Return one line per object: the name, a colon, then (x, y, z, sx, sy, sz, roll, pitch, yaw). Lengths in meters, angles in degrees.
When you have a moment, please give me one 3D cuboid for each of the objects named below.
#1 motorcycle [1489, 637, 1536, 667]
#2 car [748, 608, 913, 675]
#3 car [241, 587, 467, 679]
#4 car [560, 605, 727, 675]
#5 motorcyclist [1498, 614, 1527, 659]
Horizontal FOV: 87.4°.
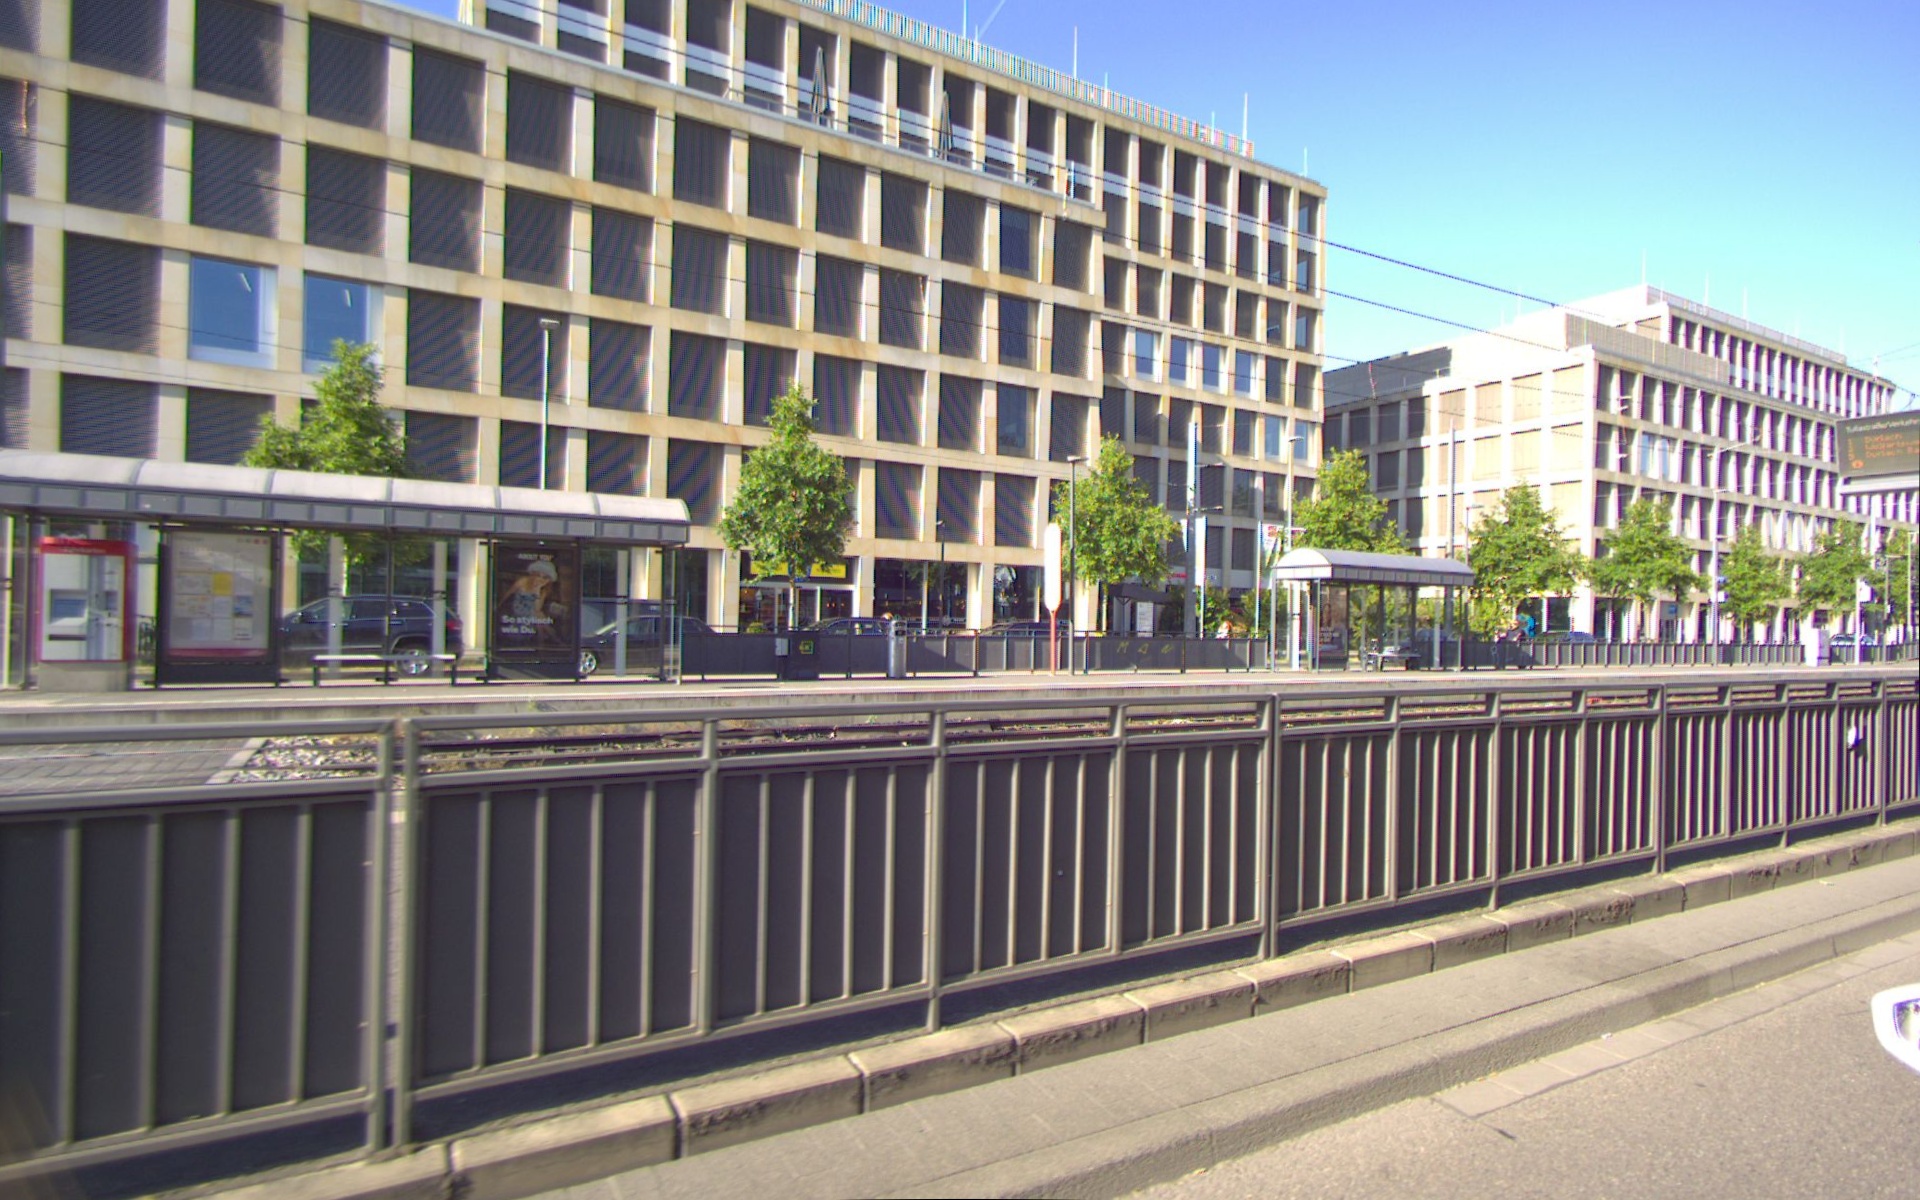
motorcycle: (19.407, 1.816, 35.276, 1.819, 1.035, 0.602, 2, -1, -29)
car: (-3.492, 1.094, 27.094, 3.952, 1.684, 1.985, 2, -1, -29)
car: (-12.856, 0.706, 21.583, 3.952, 1.793, 1.909, 2, -1, -29)
car: (-7.686, 0.963, 24.452, 3.606, 1.582, 1.637, 2, -1, -30)
motorcyclist: (19.385, 1.284, 35.248, 0.755, 1.553, 0.573, 2, -1, -29)
